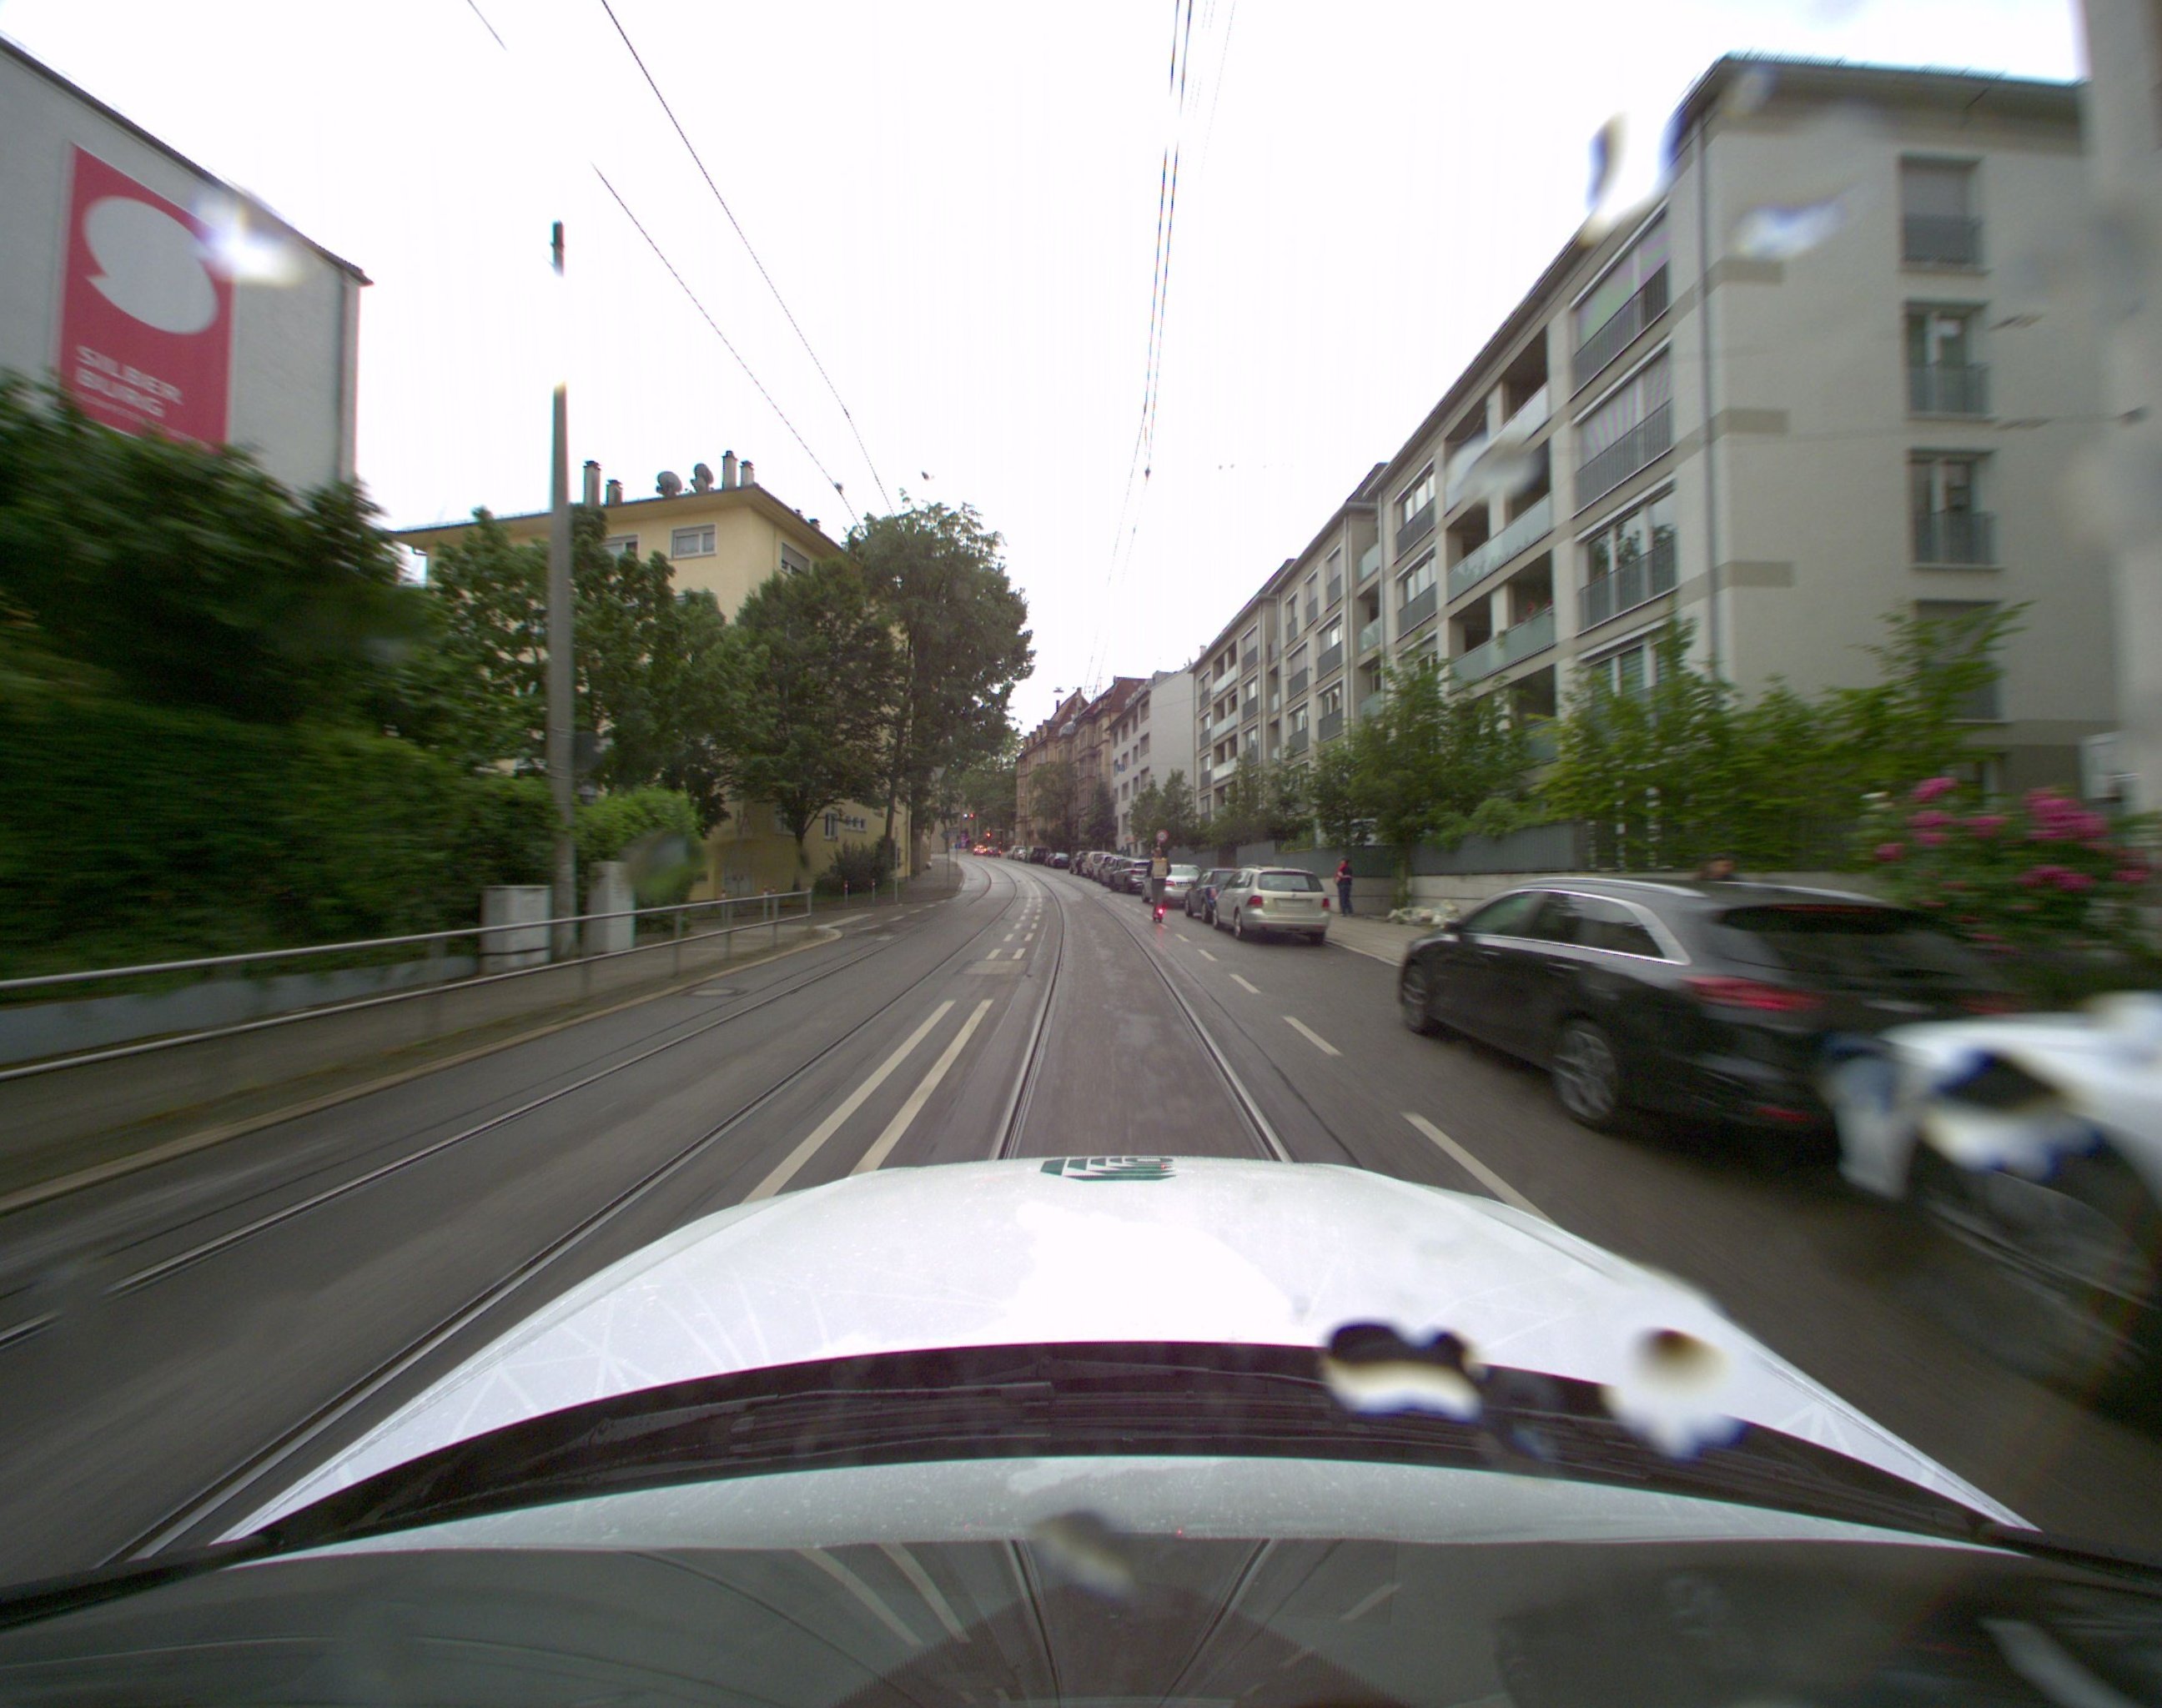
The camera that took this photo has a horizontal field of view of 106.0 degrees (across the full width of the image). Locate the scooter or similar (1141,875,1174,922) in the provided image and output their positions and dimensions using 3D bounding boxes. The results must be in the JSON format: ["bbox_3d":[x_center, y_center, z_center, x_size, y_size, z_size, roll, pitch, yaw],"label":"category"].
[{"bbox_3d":[1.942,1.118,20.835,0.512,1.049,2.006,2,0,-3],"label":"scooter or similar"}]

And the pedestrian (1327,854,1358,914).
[{"bbox_3d":[6.938,0.784,21.599,0.567,1.542,0.651,-2,0,1],"label":"pedestrian"}]

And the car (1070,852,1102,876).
[{"bbox_3d":[0.319,0.730,61.352,1.765,1.684,4.236,1,0,-8],"label":"car"}]

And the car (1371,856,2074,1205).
[{"bbox_3d":[3.807,0.830,6.087,1.695,1.512,4.572,3,0,1],"label":"car"}]

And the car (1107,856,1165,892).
[{"bbox_3d":[2.557,0.906,38.836,1.767,1.615,4.232,0,0,-11],"label":"car"}]

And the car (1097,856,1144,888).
[{"bbox_3d":[2.129,0.947,44.891,1.766,1.615,4.235,1,0,-9],"label":"car"}]

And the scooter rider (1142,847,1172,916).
[{"bbox_3d":[1.936,0.682,20.807,0.621,1.705,0.843,1,0,-3],"label":"scooter rider"}]

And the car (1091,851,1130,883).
[{"bbox_3d":[1.767,0.774,50.418,1.765,1.787,4.238,1,0,-7],"label":"car"}]

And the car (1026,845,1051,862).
[{"bbox_3d":[-4.726,-0.058,89.098,2.030,1.824,4.350,1,0,-12],"label":"car"}]

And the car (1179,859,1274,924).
[{"bbox_3d":[3.822,0.942,21.982,1.698,1.512,3.710,1,0,-3],"label":"car"}]

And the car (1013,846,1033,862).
[{"bbox_3d":[-7.145,-0.050,100.080,2.028,1.824,4.126,1,0,-10],"label":"car"}]

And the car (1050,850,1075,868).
[{"bbox_3d":[-1.719,0.458,74.945,1.765,1.518,4.128,1,0,-8],"label":"car"}]

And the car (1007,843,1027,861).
[{"bbox_3d":[-8.269,-0.296,105.040,2.029,2.218,4.123,1,0,-12],"label":"car"}]

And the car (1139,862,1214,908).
[{"bbox_3d":[3.310,1.045,29.143,1.759,1.435,4.631,0,0,-5],"label":"car"}]

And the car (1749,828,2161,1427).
[{"bbox_3d":[3.780,0.754,1.354,1.831,1.573,4.247,2,0,0],"label":"car"}]

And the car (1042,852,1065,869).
[{"bbox_3d":[-2.728,0.607,79.863,1.650,1.536,3.876,-2,1,-10],"label":"car"}]

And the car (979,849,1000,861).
[{"bbox_3d":[-13.361,0.144,118.651,2.036,1.734,4.108,1,0,-23],"label":"car"}]

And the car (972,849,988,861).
[{"bbox_3d":[-15.471,0.212,124.445,1.860,1.734,4.118,1,0,-15],"label":"car"}]

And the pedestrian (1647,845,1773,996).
[{"bbox_3d":[6.872,0.690,8.937,0.569,1.542,0.927,-2,0,-7],"label":"pedestrian"}]

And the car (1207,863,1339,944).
[{"bbox_3d":[3.903,0.941,17.336,1.656,1.471,4.505,1,-1,-1],"label":"car"}]

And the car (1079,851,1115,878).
[{"bbox_3d":[1.074,0.700,56.571,1.766,1.684,4.235,1,0,-9],"label":"car"}]
